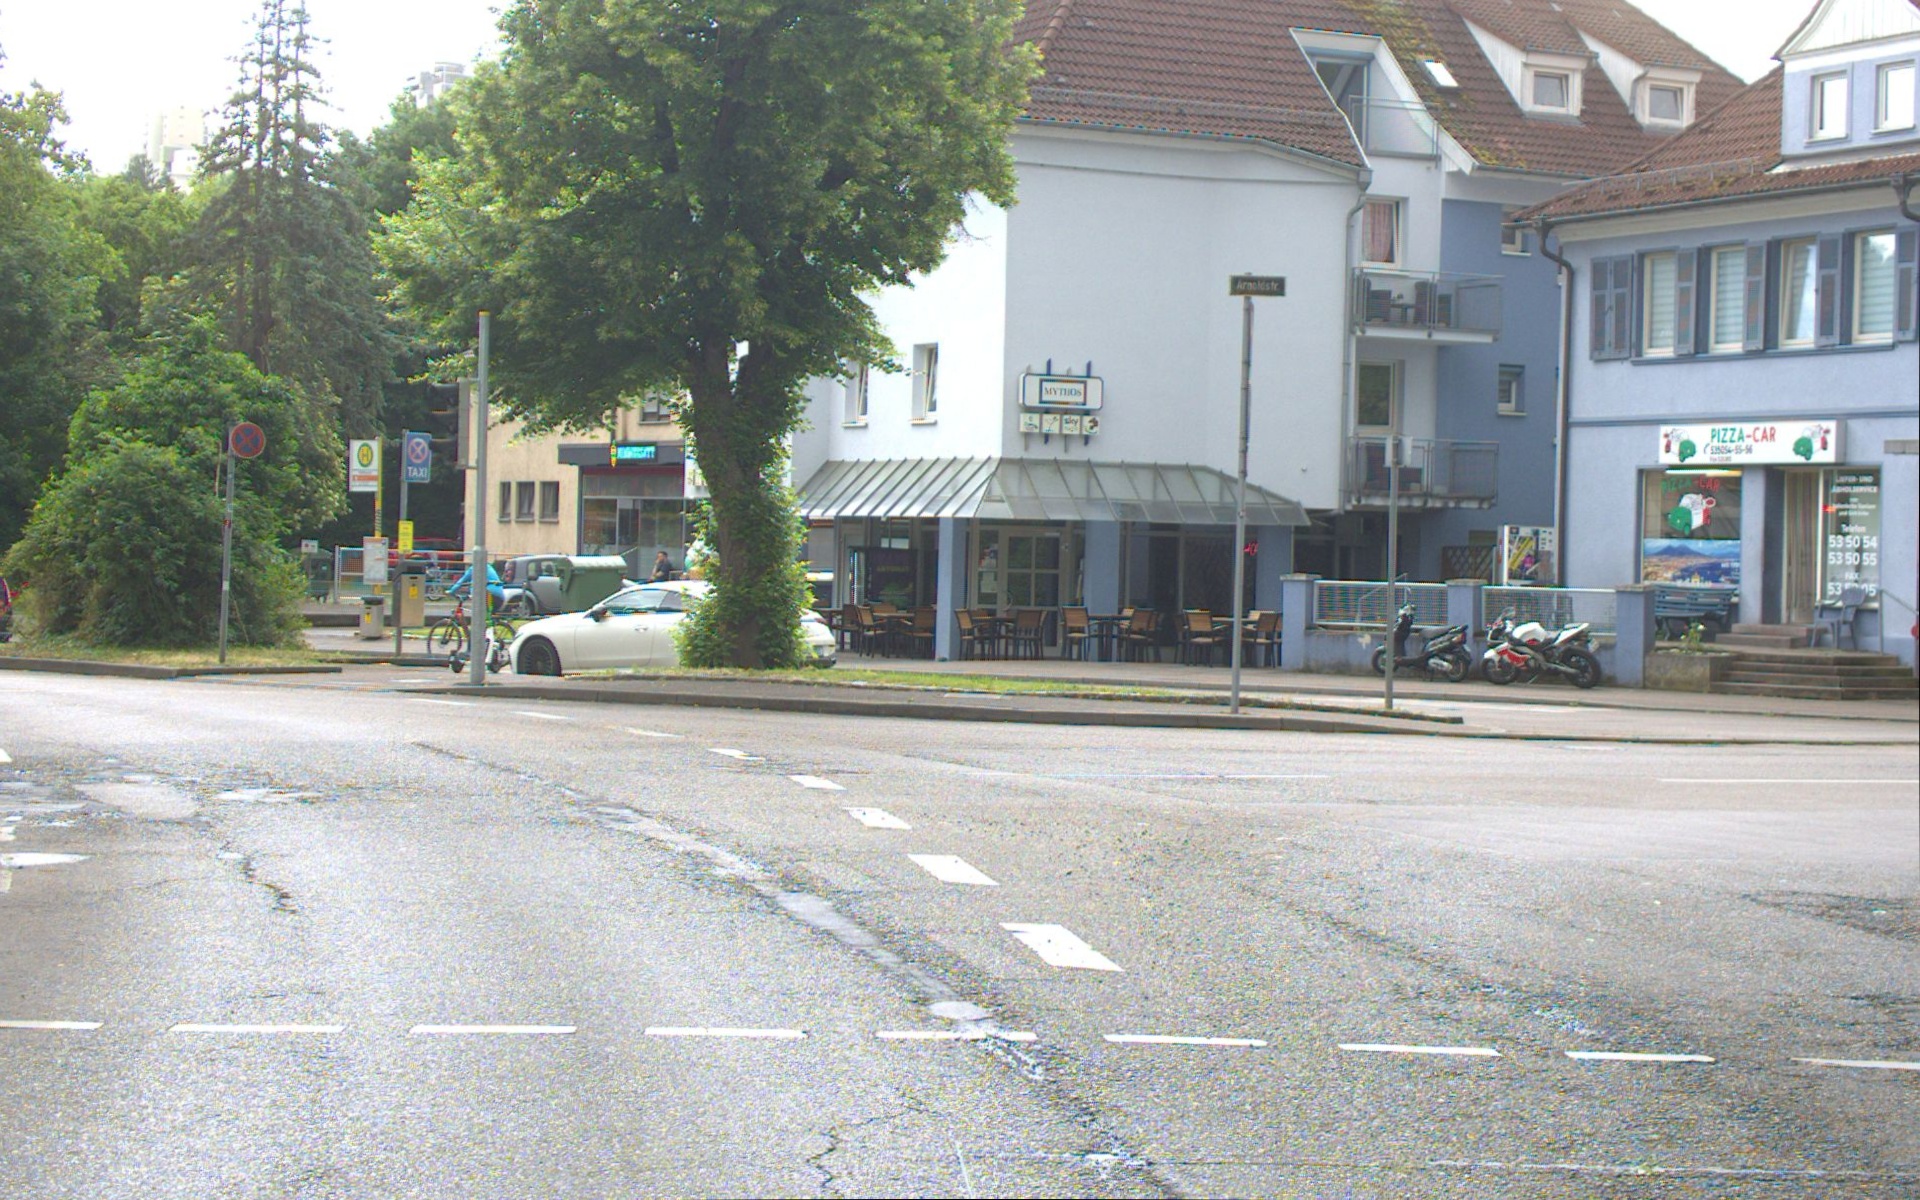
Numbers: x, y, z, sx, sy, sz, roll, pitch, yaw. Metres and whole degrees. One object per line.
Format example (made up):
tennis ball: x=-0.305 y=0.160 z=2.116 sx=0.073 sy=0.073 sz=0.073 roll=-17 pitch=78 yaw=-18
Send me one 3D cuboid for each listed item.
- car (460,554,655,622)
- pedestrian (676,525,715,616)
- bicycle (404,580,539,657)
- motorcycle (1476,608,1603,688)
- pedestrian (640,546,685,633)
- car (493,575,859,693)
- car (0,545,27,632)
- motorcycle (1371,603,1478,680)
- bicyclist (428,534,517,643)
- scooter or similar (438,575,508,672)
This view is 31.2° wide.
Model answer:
car: x=-8.859 y=-0.265 z=75.622 sx=3.936 sy=1.437 sz=1.753 roll=1 pitch=1 yaw=-20
pedestrian: x=-4.555 y=-0.499 z=59.145 sx=0.543 sy=1.554 sz=0.467 roll=0 pitch=0 yaw=13
bicycle: x=-7.579 y=0.275 z=53.300 sx=1.950 sy=1.145 sz=0.875 roll=1 pitch=1 yaw=33
motorcycle: x=8.148 y=0.666 z=48.357 sx=1.628 sy=1.085 sz=0.626 roll=1 pitch=1 yaw=32
pedestrian: x=-7.000 y=-0.254 z=80.874 sx=0.837 sy=2.007 sz=1.056 roll=1 pitch=1 yaw=-14
car: x=-3.806 y=0.423 z=45.753 sx=4.709 sy=1.405 sz=1.898 roll=2 pitch=1 yaw=35
car: x=-16.421 y=-0.214 z=53.513 sx=3.322 sy=1.347 sz=1.778 roll=1 pitch=1 yaw=27
motorcycle: x=6.772 y=0.594 z=50.126 sx=1.458 sy=1.085 sz=0.523 roll=1 pitch=1 yaw=35
bicyclist: x=-7.556 y=-0.180 z=53.291 sx=0.987 sy=1.646 sz=0.916 roll=1 pitch=1 yaw=31
scooter or similar: x=-6.031 y=0.285 z=42.609 sx=0.442 sy=1.171 sz=1.437 roll=1 pitch=1 yaw=9
